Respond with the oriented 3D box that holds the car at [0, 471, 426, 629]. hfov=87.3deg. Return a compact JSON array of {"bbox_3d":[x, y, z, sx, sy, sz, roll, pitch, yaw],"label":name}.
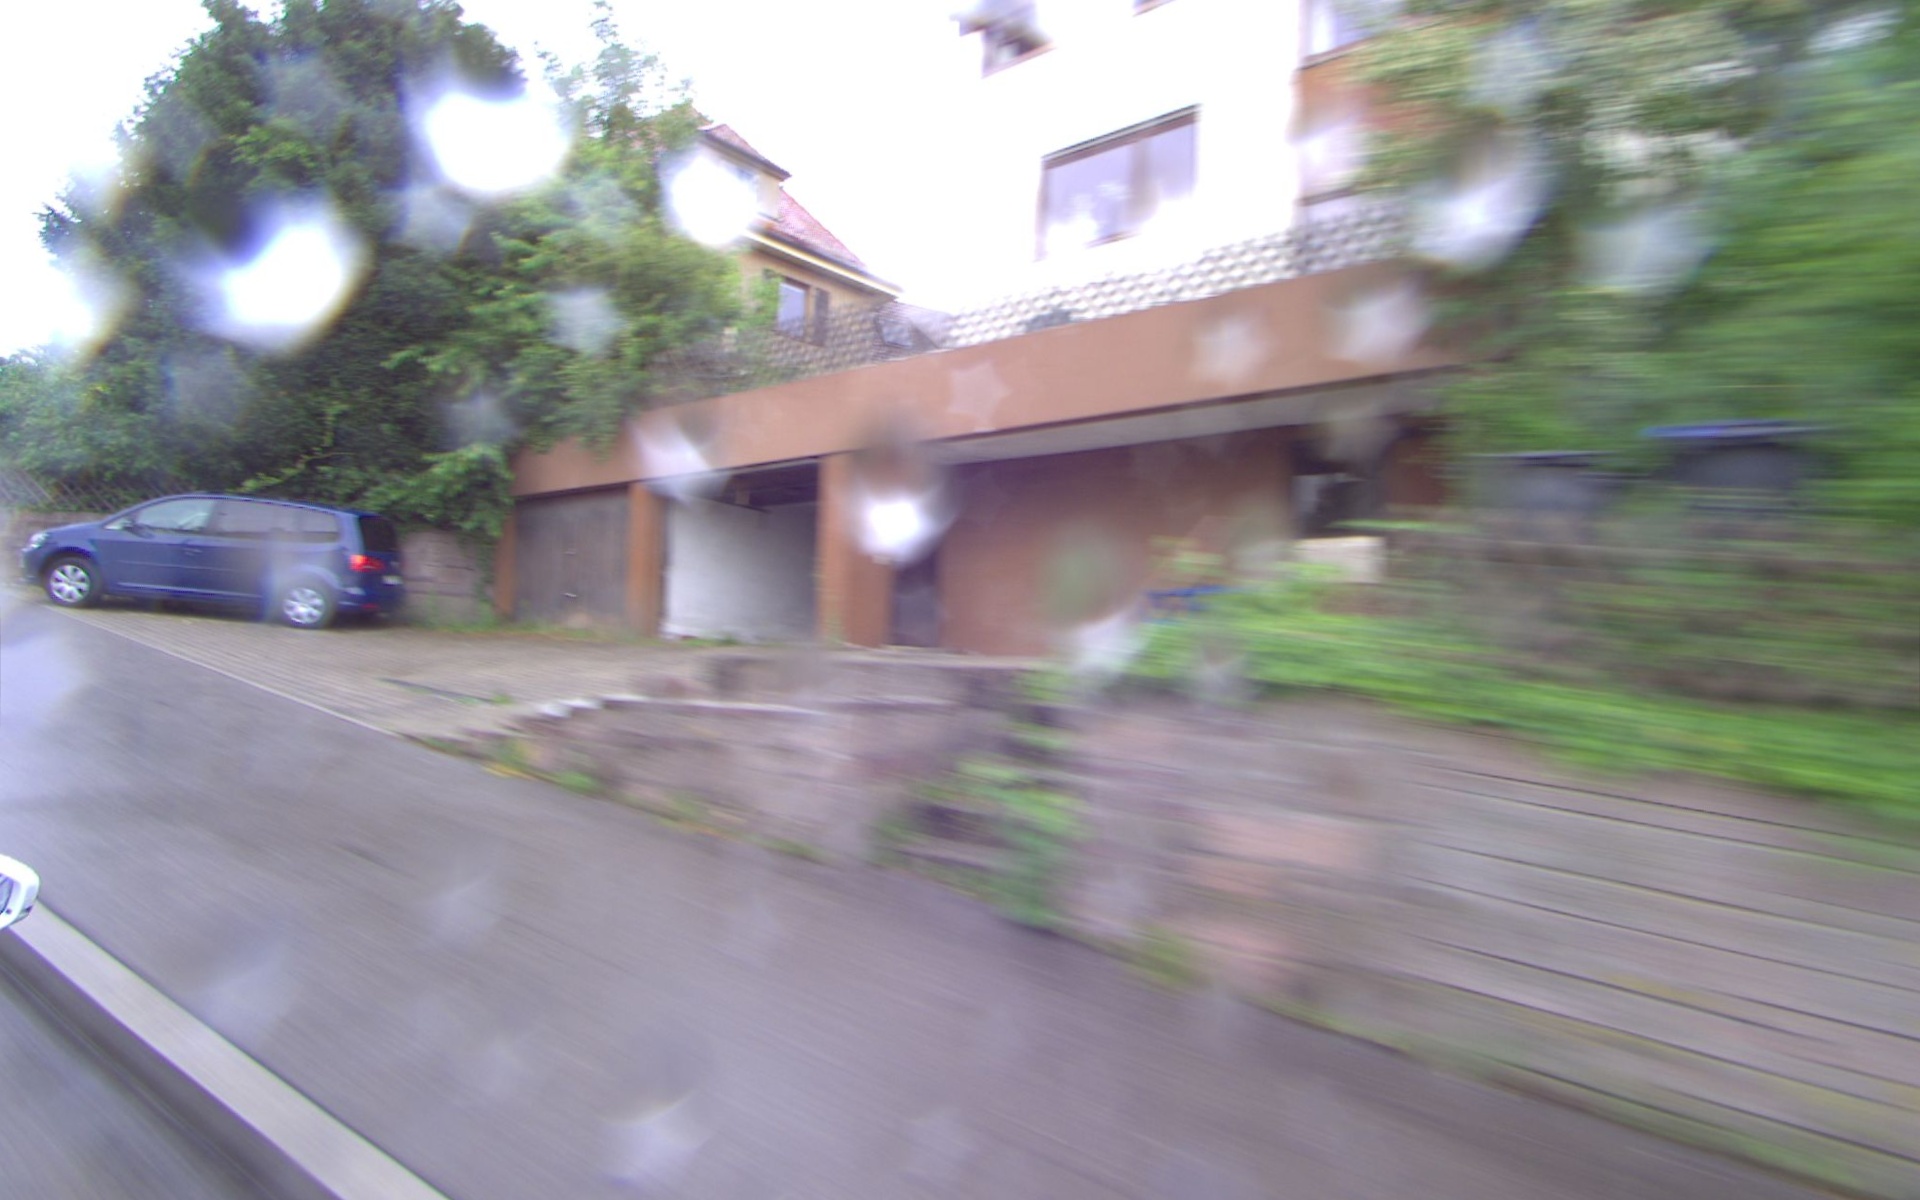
[{"bbox_3d":[-9.841,-0.671,13.538,4.265,1.630,1.850,5,4,-10],"label":"car"}]
